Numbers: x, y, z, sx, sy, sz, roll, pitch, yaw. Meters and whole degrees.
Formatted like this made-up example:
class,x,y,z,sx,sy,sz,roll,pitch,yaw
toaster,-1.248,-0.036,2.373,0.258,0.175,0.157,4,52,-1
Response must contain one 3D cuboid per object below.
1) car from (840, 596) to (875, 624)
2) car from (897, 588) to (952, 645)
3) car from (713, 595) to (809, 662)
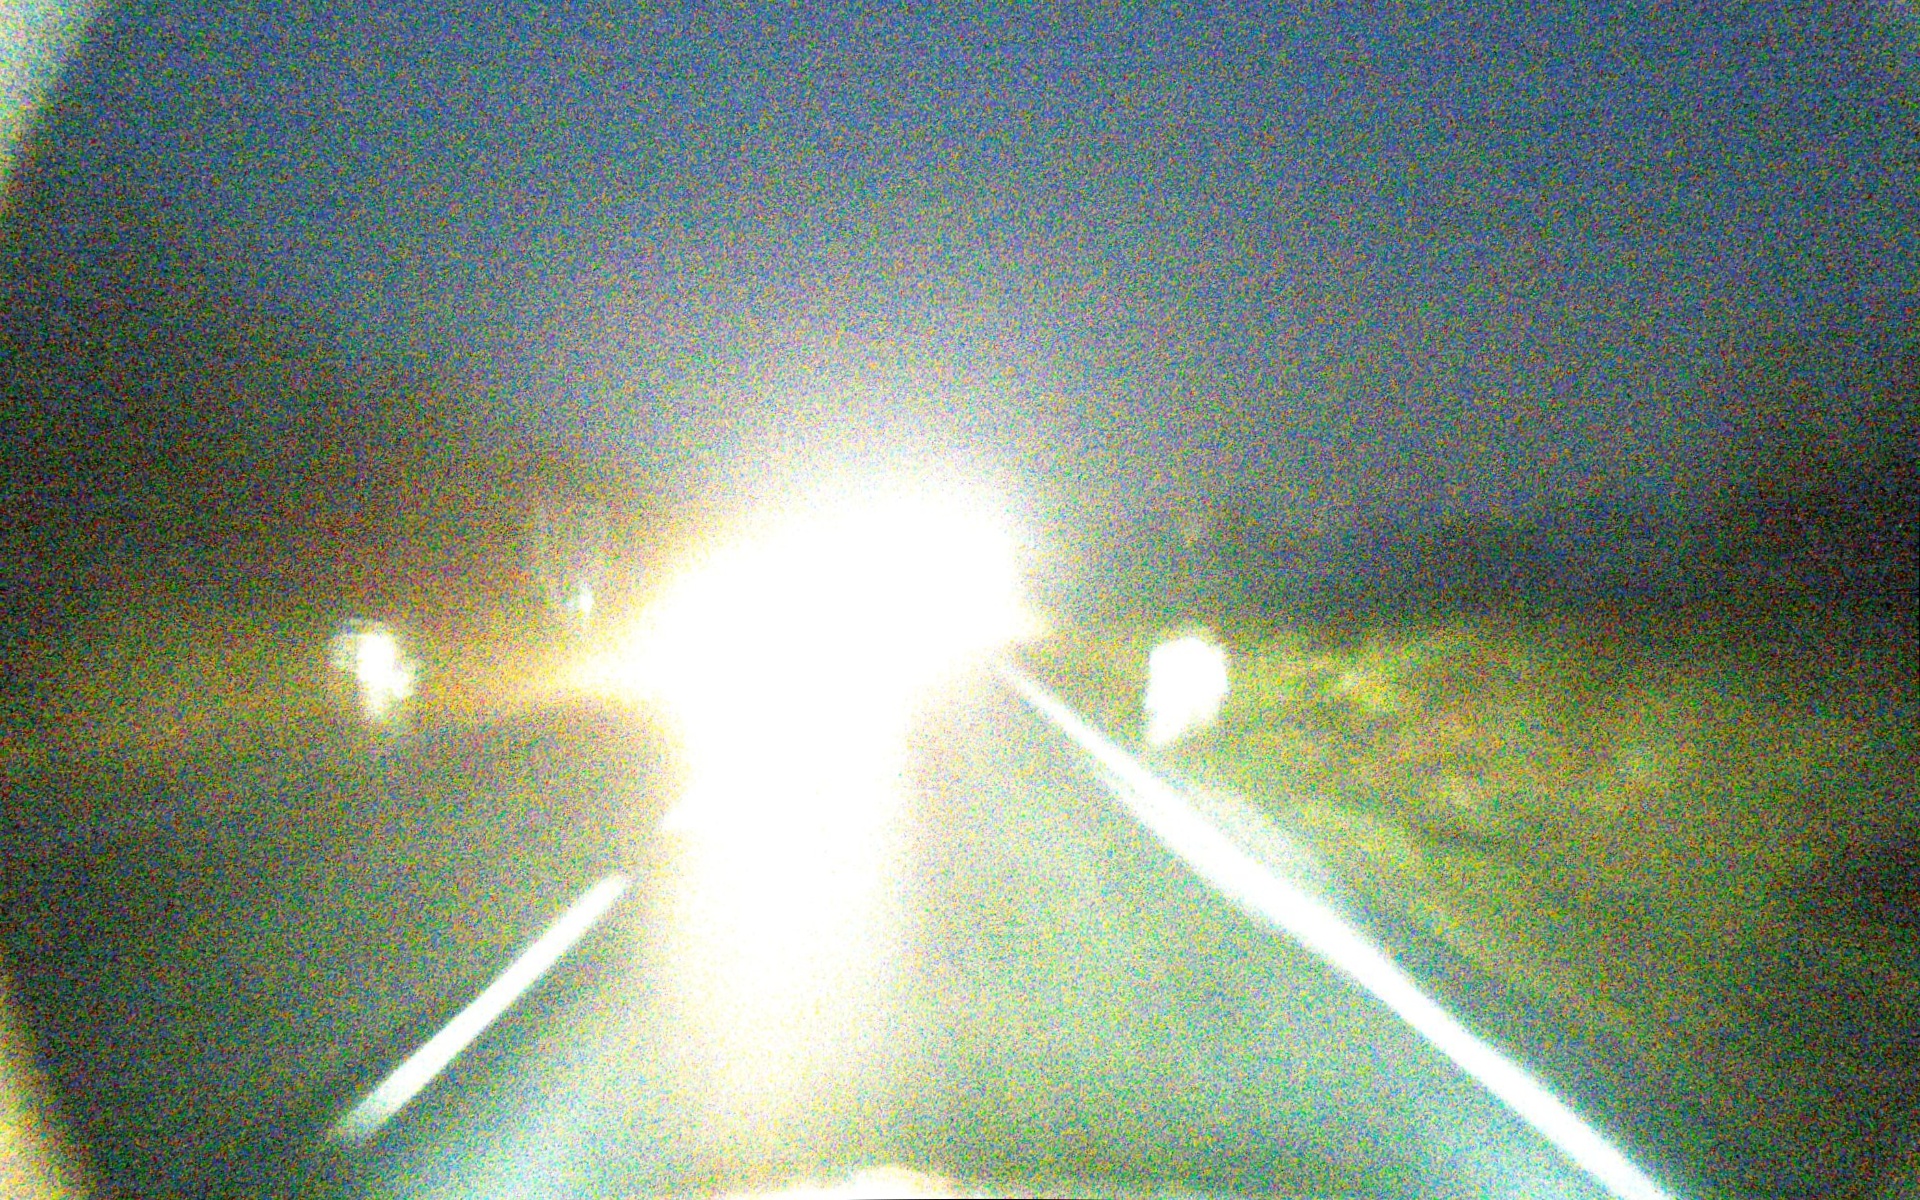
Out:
class,x,y,z,sx,sy,sz,roll,pitch,yaw
car,-6.527,0.630,105.192,1.956,1.690,3.993,1,0,-7
car,-1.237,0.535,57.886,1.805,1.770,4.000,2,1,-1
car,-4.864,0.668,40.891,1.953,1.576,3.999,0,0,-1
